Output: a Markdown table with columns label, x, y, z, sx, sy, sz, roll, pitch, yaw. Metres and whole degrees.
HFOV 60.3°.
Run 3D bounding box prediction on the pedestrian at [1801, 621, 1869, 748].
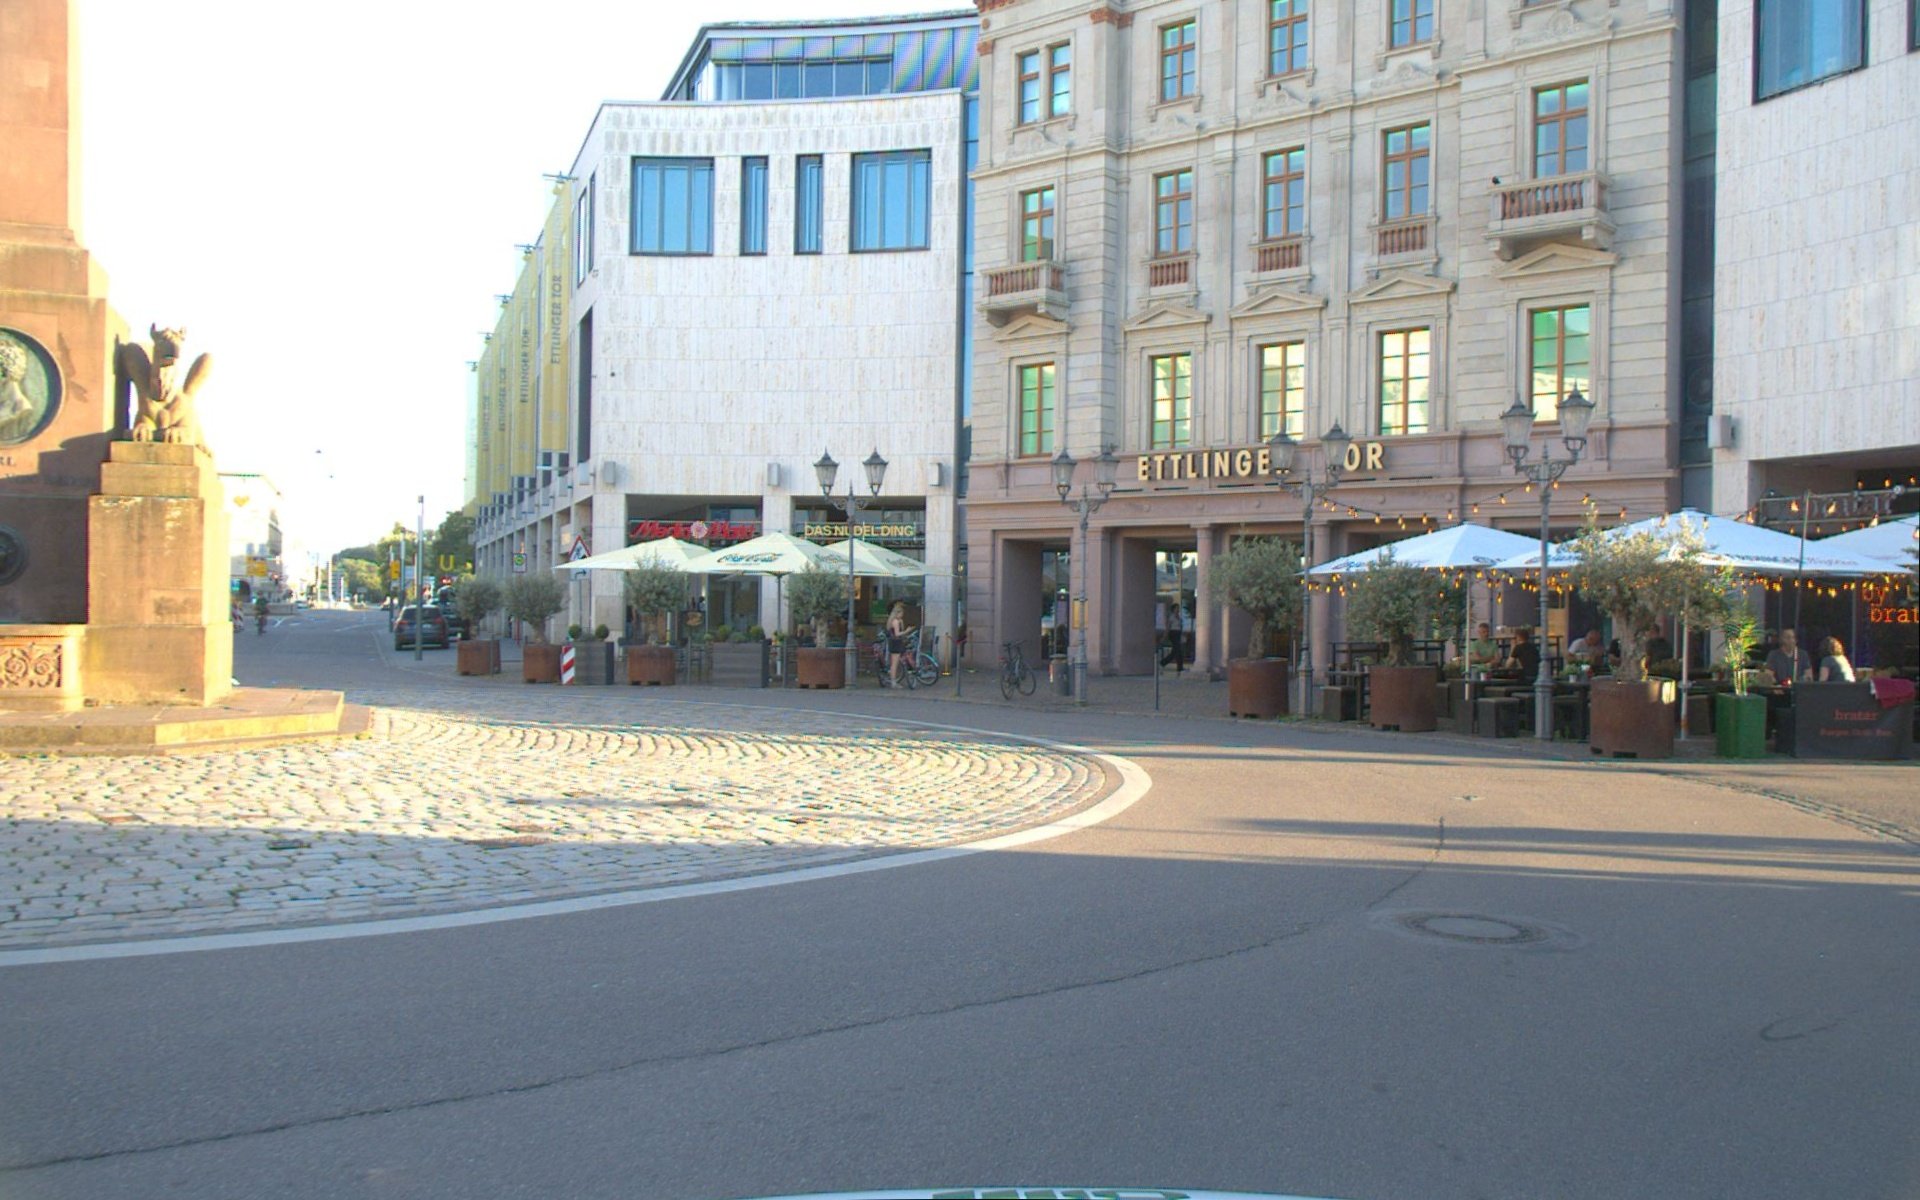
| label | x | y | z | sx | sy | sz | roll | pitch | yaw |
| --- | --- | --- | --- | --- | --- | --- | --- | --- | --- |
| pedestrian | 10.522 | 1.006 | 19.901 | 0.517 | 1.504 | 0.562 | 0 | 0 | 1 |

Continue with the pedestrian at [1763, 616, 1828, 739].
| label | x | y | z | sx | sy | sz | roll | pitch | yaw |
| --- | --- | --- | --- | --- | --- | --- | --- | --- | --- |
| pedestrian | 10.470 | 0.959 | 20.731 | 0.517 | 1.504 | 0.562 | 0 | 0 | -1 |

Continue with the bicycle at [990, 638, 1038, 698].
| label | x | y | z | sx | sy | sz | roll | pitch | yaw |
| --- | --- | --- | --- | --- | --- | --- | --- | --- | --- |
| bicycle | 1.015 | 1.252 | 30.788 | 0.496 | 1.050 | 1.646 | 0 | 0 | 16 |

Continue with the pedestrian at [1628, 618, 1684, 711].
| label | x | y | z | sx | sy | sz | roll | pitch | yaw |
| --- | --- | --- | --- | --- | --- | --- | --- | --- | --- |
| pedestrian | 11.510 | 1.053 | 27.356 | 0.616 | 1.504 | 0.618 | 1 | 0 | -30 |

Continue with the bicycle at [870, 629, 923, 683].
| label | x | y | z | sx | sy | sz | roll | pitch | yaw |
| --- | --- | --- | --- | --- | --- | --- | --- | --- | --- |
| bicycle | -1.286 | 1.140 | 33.813 | 0.587 | 1.050 | 1.646 | 0 | 0 | 16 |

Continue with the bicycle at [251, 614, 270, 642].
| label | x | y | z | sx | sy | sz | roll | pitch | yaw |
| --- | --- | --- | --- | --- | --- | --- | --- | --- | --- |
| bicycle | -29.519 | 1.186 | 69.803 | 0.591 | 1.158 | 1.746 | 1 | 0 | -18 |

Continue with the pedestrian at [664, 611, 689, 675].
| label | x | y | z | sx | sy | sz | roll | pitch | yaw |
| --- | --- | --- | --- | --- | --- | --- | --- | --- | --- |
| pedestrian | -6.311 | 0.953 | 36.862 | 0.496 | 1.422 | 0.495 | 1 | 0 | -4 |

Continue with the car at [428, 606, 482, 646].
| label | x | y | z | sx | sy | sz | roll | pitch | yaw |
| --- | --- | --- | --- | --- | --- | --- | --- | --- | --- |
| car | -20.007 | 1.007 | 65.407 | 1.963 | 1.490 | 3.979 | 1 | 0 | -18 |

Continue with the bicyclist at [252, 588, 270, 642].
| label | x | y | z | sx | sy | sz | roll | pitch | yaw |
| --- | --- | --- | --- | --- | --- | --- | --- | --- | --- |
| bicyclist | -29.506 | 0.641 | 69.812 | 0.591 | 2.282 | 0.799 | 1 | -1 | -19 |

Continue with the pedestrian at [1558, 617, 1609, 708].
| label | x | y | z | sx | sy | sz | roll | pitch | yaw |
| --- | --- | --- | --- | --- | --- | --- | --- | --- | --- |
| pedestrian | 10.555 | 1.052 | 27.992 | 0.579 | 1.504 | 0.623 | 1 | 0 | -8 |

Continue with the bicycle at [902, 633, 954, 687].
| label | x | y | z | sx | sy | sz | roll | pitch | yaw |
| --- | --- | --- | --- | --- | --- | --- | --- | --- | --- |
| bicycle | -0.641 | 1.212 | 33.701 | 0.606 | 1.050 | 1.646 | 0 | 0 | 16 |

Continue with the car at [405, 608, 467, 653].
| label | x | y | z | sx | sy | sz | roll | pitch | yaw |
| --- | --- | --- | --- | --- | --- | --- | --- | --- | --- |
| car | -18.103 | 1.029 | 57.134 | 1.963 | 1.490 | 3.979 | 1 | 0 | -18 |

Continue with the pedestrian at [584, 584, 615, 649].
| label | x | y | z | sx | sy | sz | roll | pitch | yaw |
| --- | --- | --- | --- | --- | --- | --- | --- | --- | --- |
| pedestrian | -10.352 | 0.466 | 47.478 | 0.631 | 1.848 | 0.690 | 1 | 0 | -36 |

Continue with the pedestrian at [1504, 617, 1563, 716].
| label | x | y | z | sx | sy | sz | roll | pitch | yaw |
| --- | --- | --- | --- | --- | --- | --- | --- | --- | --- |
| pedestrian | 8.944 | 1.030 | 25.806 | 0.578 | 1.504 | 0.681 | 1 | 0 | -16 |

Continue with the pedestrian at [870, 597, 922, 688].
| label | x | y | z | sx | sy | sz | roll | pitch | yaw |
| --- | --- | --- | --- | --- | --- | --- | --- | --- | --- |
| pedestrian | -1.261 | 0.821 | 32.382 | 0.888 | 1.759 | 0.847 | 1 | 0 | -11 |

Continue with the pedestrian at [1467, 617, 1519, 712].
| label | x | y | z | sx | sy | sz | roll | pitch | yaw |
| --- | --- | --- | --- | --- | --- | --- | --- | --- | --- |
| pedestrian | 8.617 | 1.033 | 26.733 | 0.535 | 1.504 | 0.621 | 1 | 0 | -18 |

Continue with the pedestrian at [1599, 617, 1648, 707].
| label | x | y | z | sx | sy | sz | roll | pitch | yaw |
| --- | --- | --- | --- | --- | --- | --- | --- | --- | --- |
| pedestrian | 11.370 | 1.058 | 28.346 | 0.533 | 1.504 | 0.623 | 1 | 0 | -8 |

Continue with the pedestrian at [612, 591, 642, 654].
| label | x | y | z | sx | sy | sz | roll | pitch | yaw |
| --- | --- | --- | --- | --- | --- | --- | --- | --- | --- |
| pedestrian | -9.812 | 0.662 | 48.753 | 0.699 | 1.818 | 0.640 | 1 | 0 | -27 |

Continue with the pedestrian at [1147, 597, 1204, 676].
| label | x | y | z | sx | sy | sz | roll | pitch | yaw |
| --- | --- | --- | --- | --- | --- | --- | --- | --- | --- |
| pedestrian | 5.194 | 0.870 | 39.874 | 0.964 | 1.854 | 0.974 | 1 | -1 | -44 |
